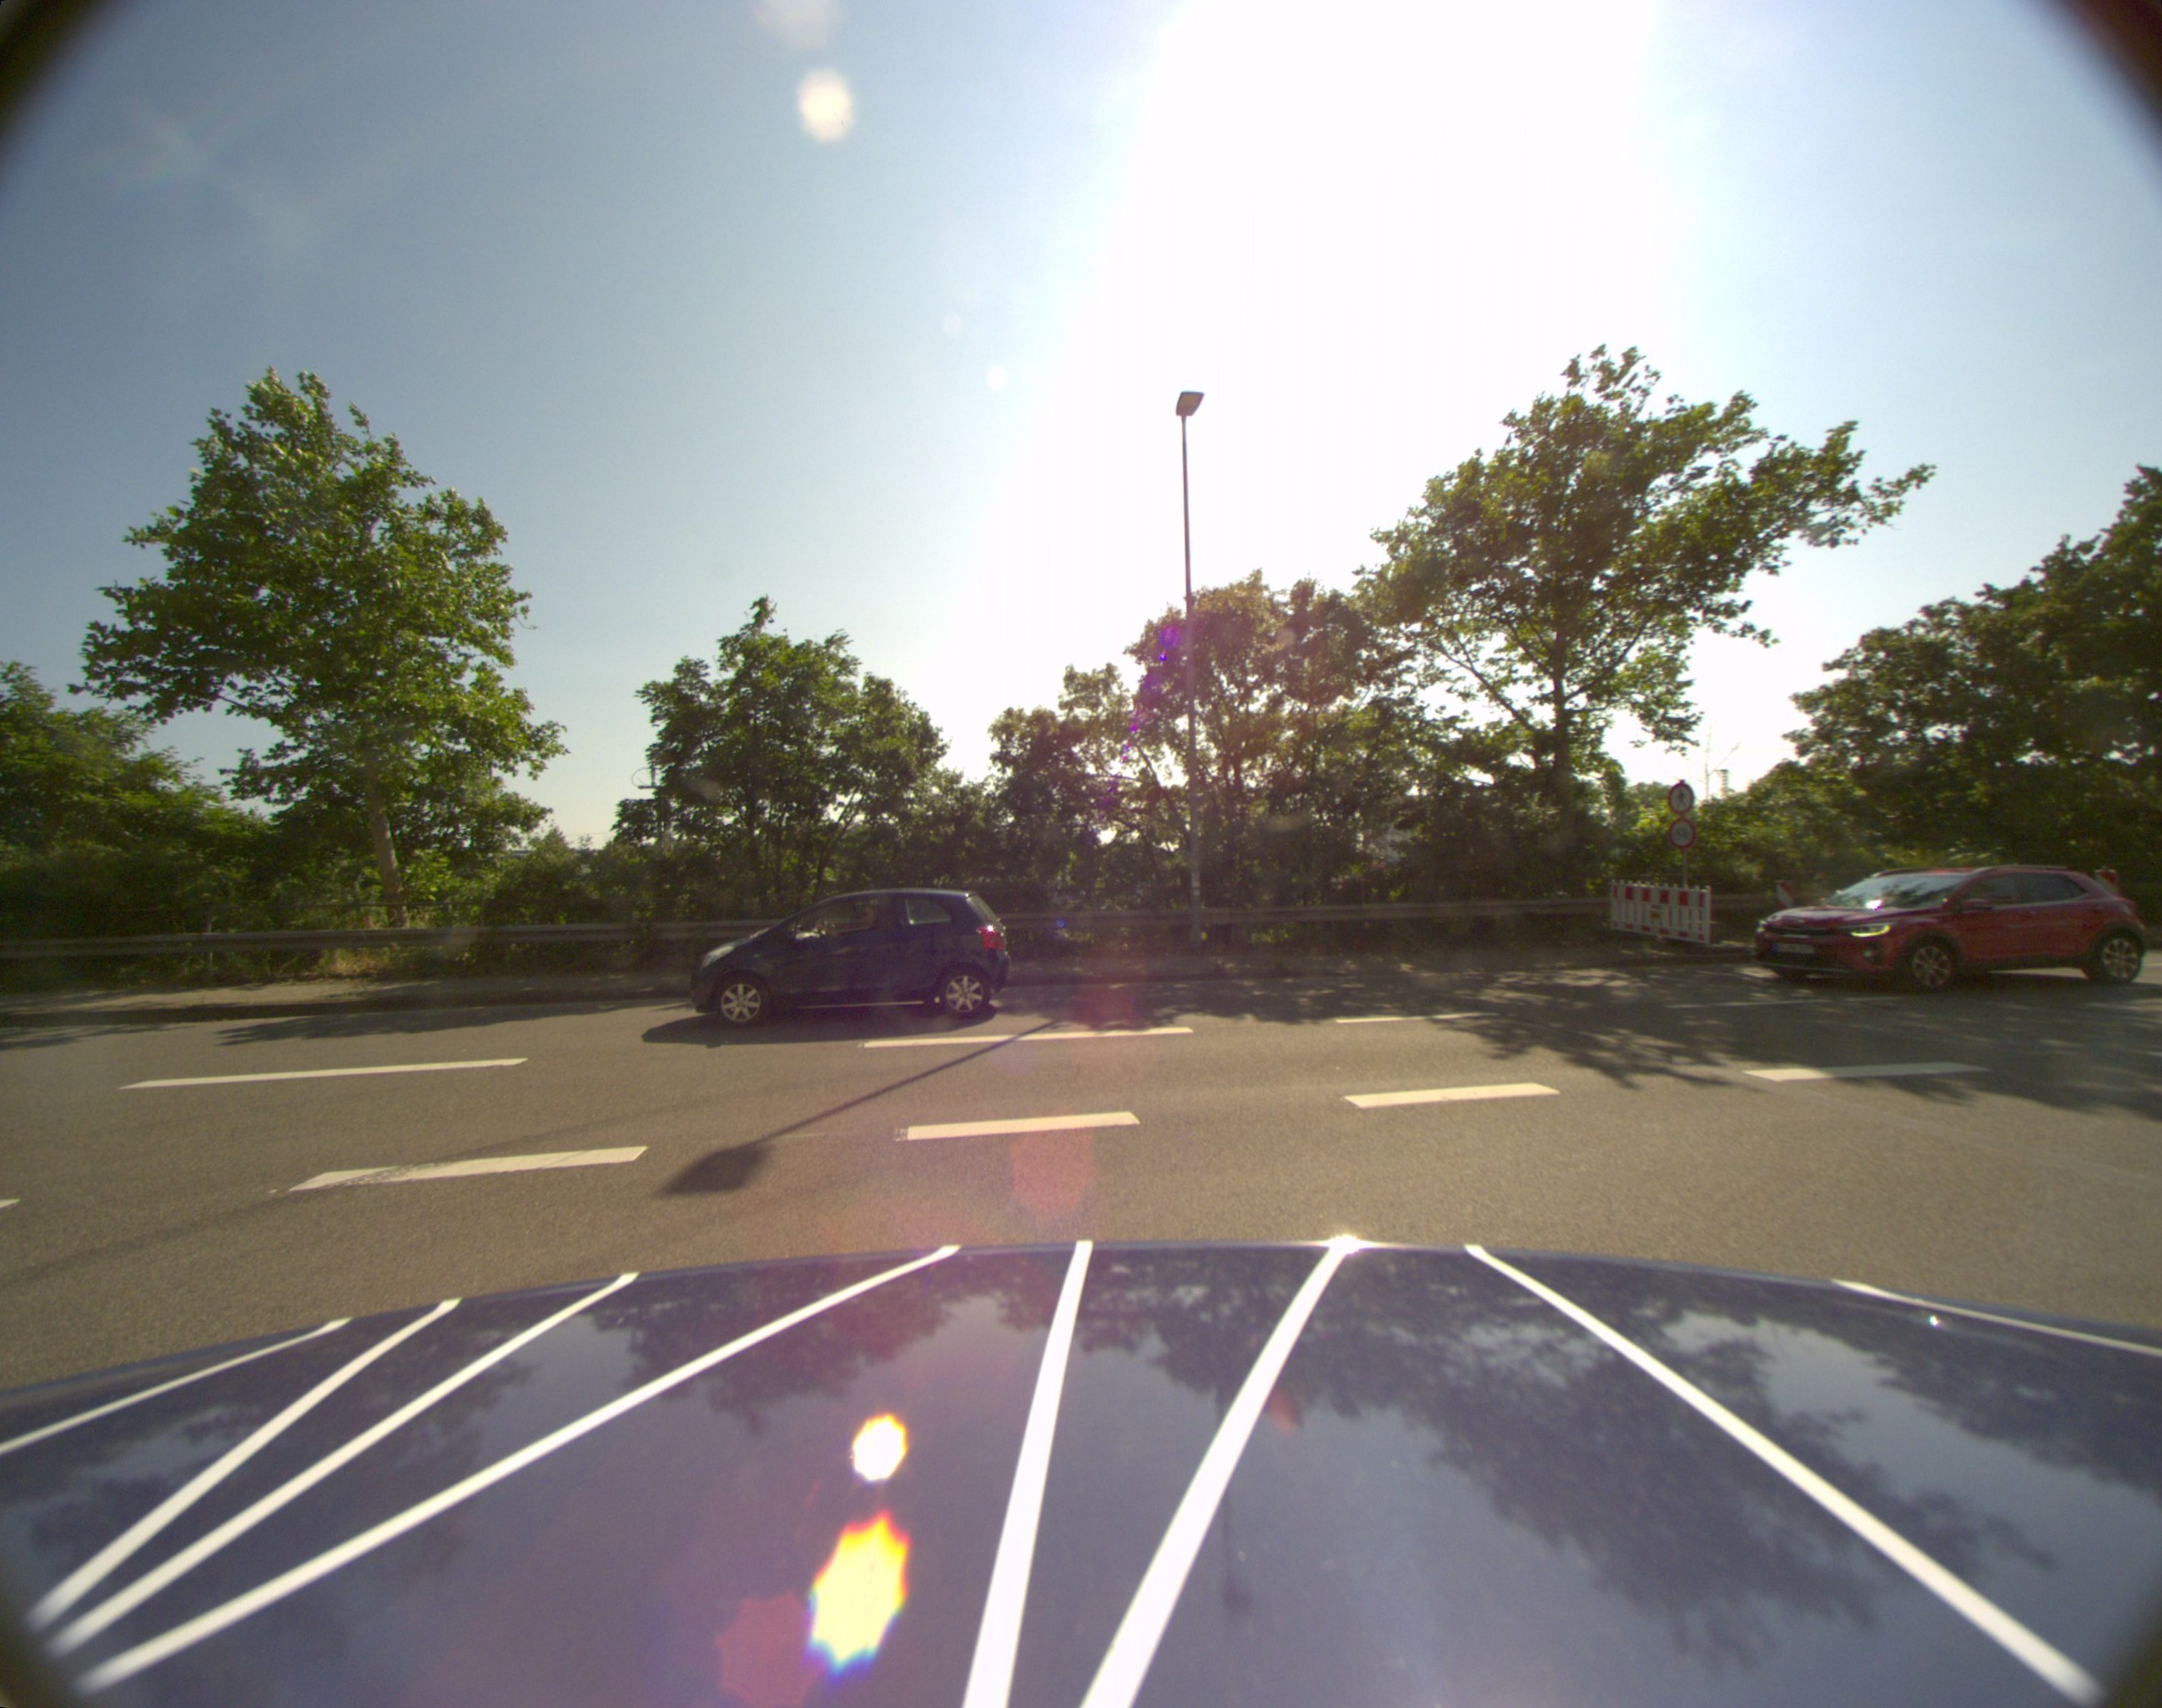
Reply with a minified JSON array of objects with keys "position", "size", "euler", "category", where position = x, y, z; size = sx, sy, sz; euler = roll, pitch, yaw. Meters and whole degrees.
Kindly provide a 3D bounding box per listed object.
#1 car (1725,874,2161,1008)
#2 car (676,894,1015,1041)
[{"position":[11.276,1.073,10.104],"size":[3.963,1.510,1.803],"euler":[-1,-2,-4],"category":"car"},{"position":[-2.676,1.282,9.278],"size":[3.649,1.491,1.646],"euler":[-1,-2,-7],"category":"car"}]
